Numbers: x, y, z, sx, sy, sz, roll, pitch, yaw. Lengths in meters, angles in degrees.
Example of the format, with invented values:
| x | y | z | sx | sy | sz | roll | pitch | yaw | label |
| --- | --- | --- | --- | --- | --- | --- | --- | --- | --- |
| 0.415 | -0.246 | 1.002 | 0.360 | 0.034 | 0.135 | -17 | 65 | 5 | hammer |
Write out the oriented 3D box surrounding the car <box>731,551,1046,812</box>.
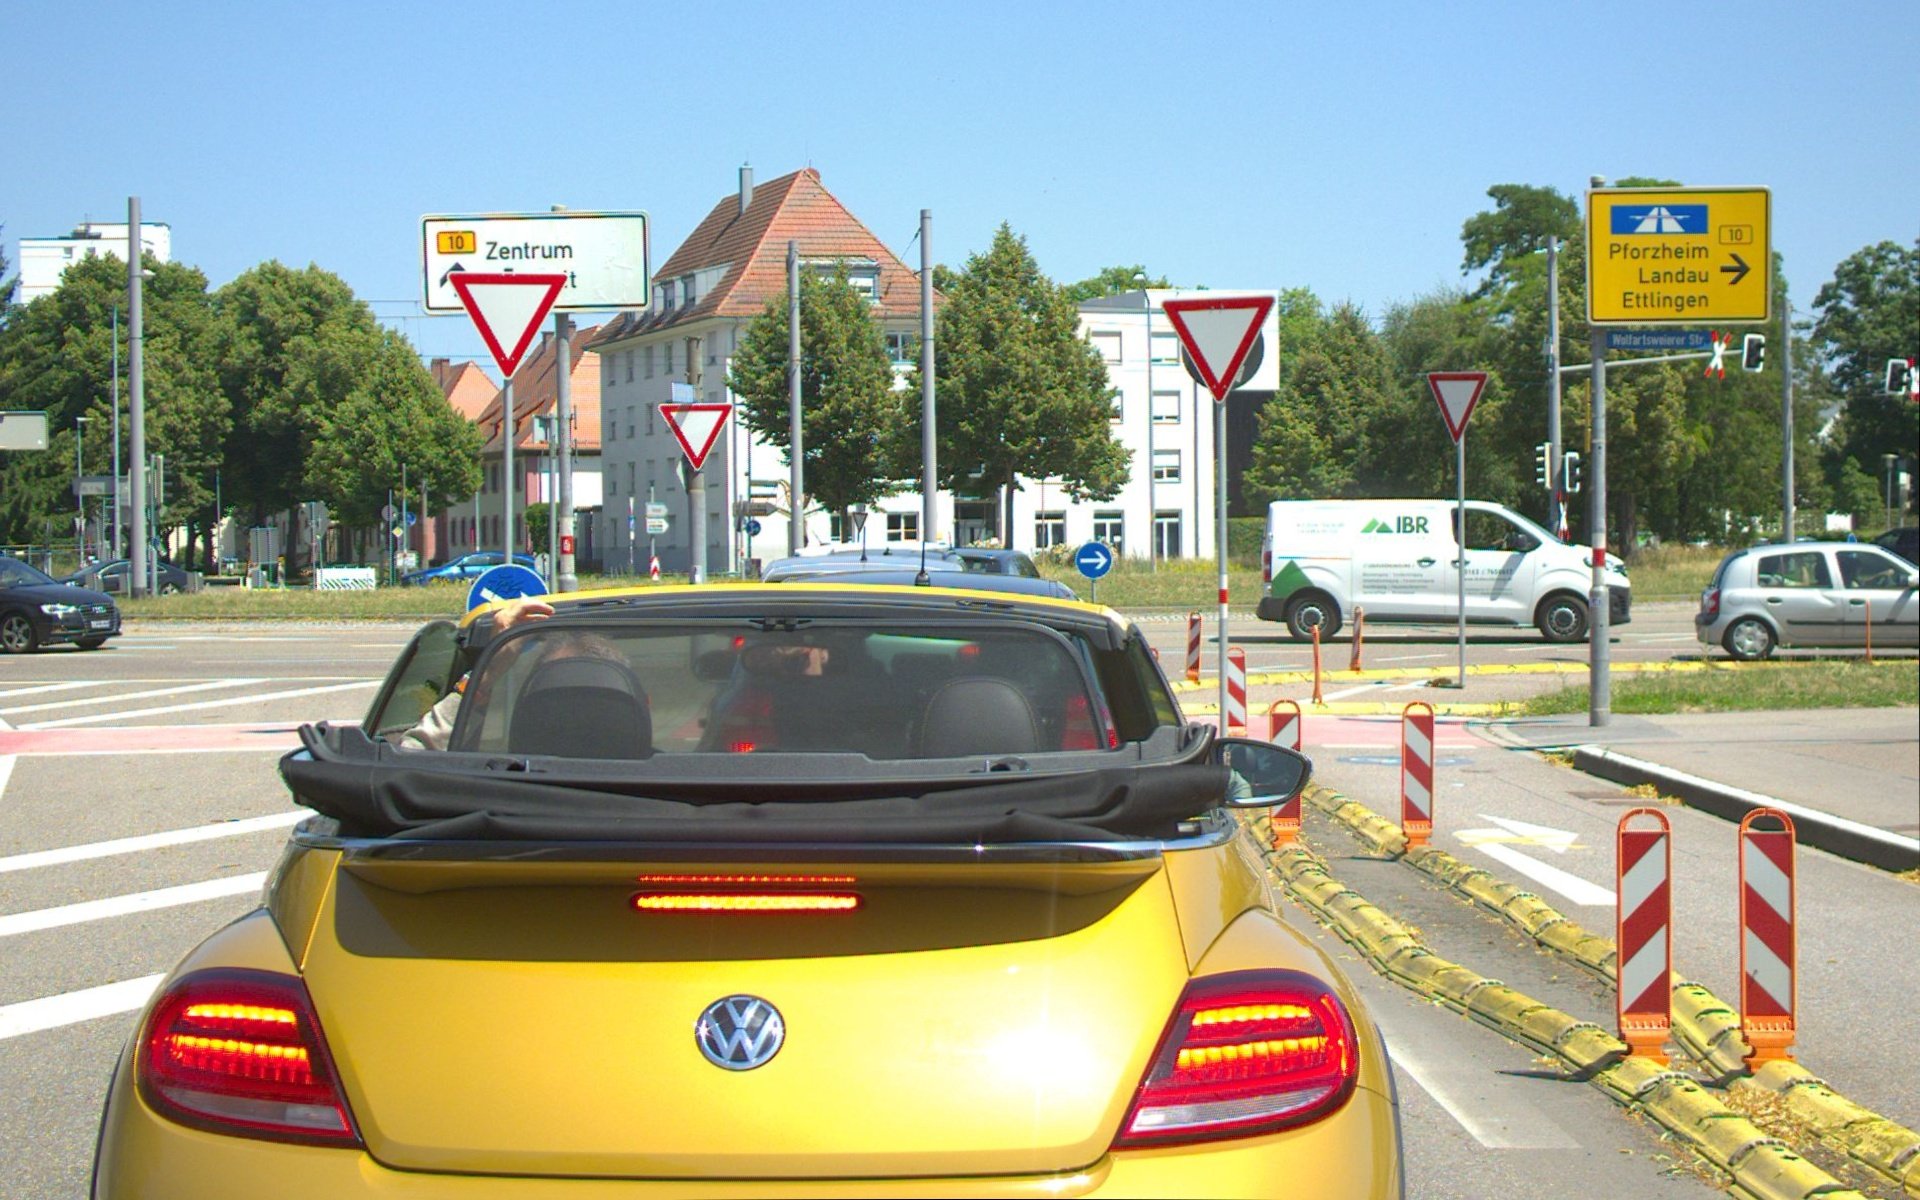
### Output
| x | y | z | sx | sy | sz | roll | pitch | yaw | label |
| --- | --- | --- | --- | --- | --- | --- | --- | --- | --- |
| -0.416 | 0.421 | 20.970 | 1.736 | 1.437 | 4.000 | 0 | 1 | -1 | car |

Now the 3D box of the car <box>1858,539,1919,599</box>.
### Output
| x | y | z | sx | sy | sz | roll | pitch | yaw | label |
| --- | --- | --- | --- | --- | --- | --- | --- | --- | --- |
| 27.748 | -0.894 | 98.253 | 1.942 | 1.666 | 4.202 | -2 | 1 | -20 | car |

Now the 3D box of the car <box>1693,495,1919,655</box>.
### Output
| x | y | z | sx | sy | sz | roll | pitch | yaw | label |
| --- | --- | --- | --- | --- | --- | --- | --- | --- | --- |
| 10.513 | -0.300 | 40.341 | 3.667 | 1.843 | 1.632 | 0 | 1 | 10 | car |

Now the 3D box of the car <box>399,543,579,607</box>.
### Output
| x | y | z | sx | sy | sz | roll | pitch | yaw | label |
| --- | --- | --- | --- | --- | --- | --- | --- | --- | --- |
| -14.181 | -0.756 | 103.591 | 4.915 | 1.780 | 2.026 | -2 | 1 | -28 | car |

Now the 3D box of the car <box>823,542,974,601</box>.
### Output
| x | y | z | sx | sy | sz | roll | pitch | yaw | label |
| --- | --- | --- | --- | --- | --- | --- | --- | --- | --- |
| -1.932 | -0.899 | 107.735 | 4.669 | 1.821 | 2.000 | 0 | 1 | -2 | car |

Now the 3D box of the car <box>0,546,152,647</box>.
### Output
| x | y | z | sx | sy | sz | roll | pitch | yaw | label |
| --- | --- | --- | --- | --- | --- | --- | --- | --- | --- |
| -14.227 | -0.075 | 50.544 | 4.192 | 1.437 | 1.998 | 0 | 1 | 23 | car |

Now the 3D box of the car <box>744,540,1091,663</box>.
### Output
| x | y | z | sx | sy | sz | roll | pitch | yaw | label |
| --- | --- | --- | --- | --- | --- | --- | --- | --- | --- |
| -0.490 | 0.005 | 41.682 | 4.009 | 1.439 | 1.632 | 0 | 1 | 8 | car |

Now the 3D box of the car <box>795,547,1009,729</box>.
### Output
| x | y | z | sx | sy | sz | roll | pitch | yaw | label |
| --- | --- | --- | --- | --- | --- | --- | --- | --- | --- |
| -0.489 | 0.279 | 29.840 | 1.736 | 1.472 | 4.000 | 0 | 1 | -1 | car |

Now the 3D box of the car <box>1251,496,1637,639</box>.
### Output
| x | y | z | sx | sy | sz | roll | pitch | yaw | label |
| --- | --- | --- | --- | --- | --- | --- | --- | --- | --- |
| 6.433 | -0.449 | 45.784 | 4.972 | 1.843 | 1.999 | 0 | 1 | 9 | car |

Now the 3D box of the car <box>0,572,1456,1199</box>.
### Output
| x | y | z | sx | sy | sz | roll | pitch | yaw | label |
| --- | --- | --- | --- | --- | --- | --- | --- | --- | --- |
| -0.333 | 0.675 | 5.860 | 1.752 | 1.417 | 3.778 | 0 | 1 | -1 | car |

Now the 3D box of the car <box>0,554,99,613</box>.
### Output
| x | y | z | sx | sy | sz | roll | pitch | yaw | label |
| --- | --- | --- | --- | --- | --- | --- | --- | --- | --- |
| -26.510 | -0.428 | 95.866 | 4.405 | 1.564 | 2.026 | -2 | 1 | -30 | car |

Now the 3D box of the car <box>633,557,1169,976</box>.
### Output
| x | y | z | sx | sy | sz | roll | pitch | yaw | label |
| --- | --- | --- | --- | --- | --- | --- | --- | --- | --- |
| -0.224 | 0.553 | 13.875 | 1.848 | 1.437 | 4.000 | 0 | 1 | -1 | car |
